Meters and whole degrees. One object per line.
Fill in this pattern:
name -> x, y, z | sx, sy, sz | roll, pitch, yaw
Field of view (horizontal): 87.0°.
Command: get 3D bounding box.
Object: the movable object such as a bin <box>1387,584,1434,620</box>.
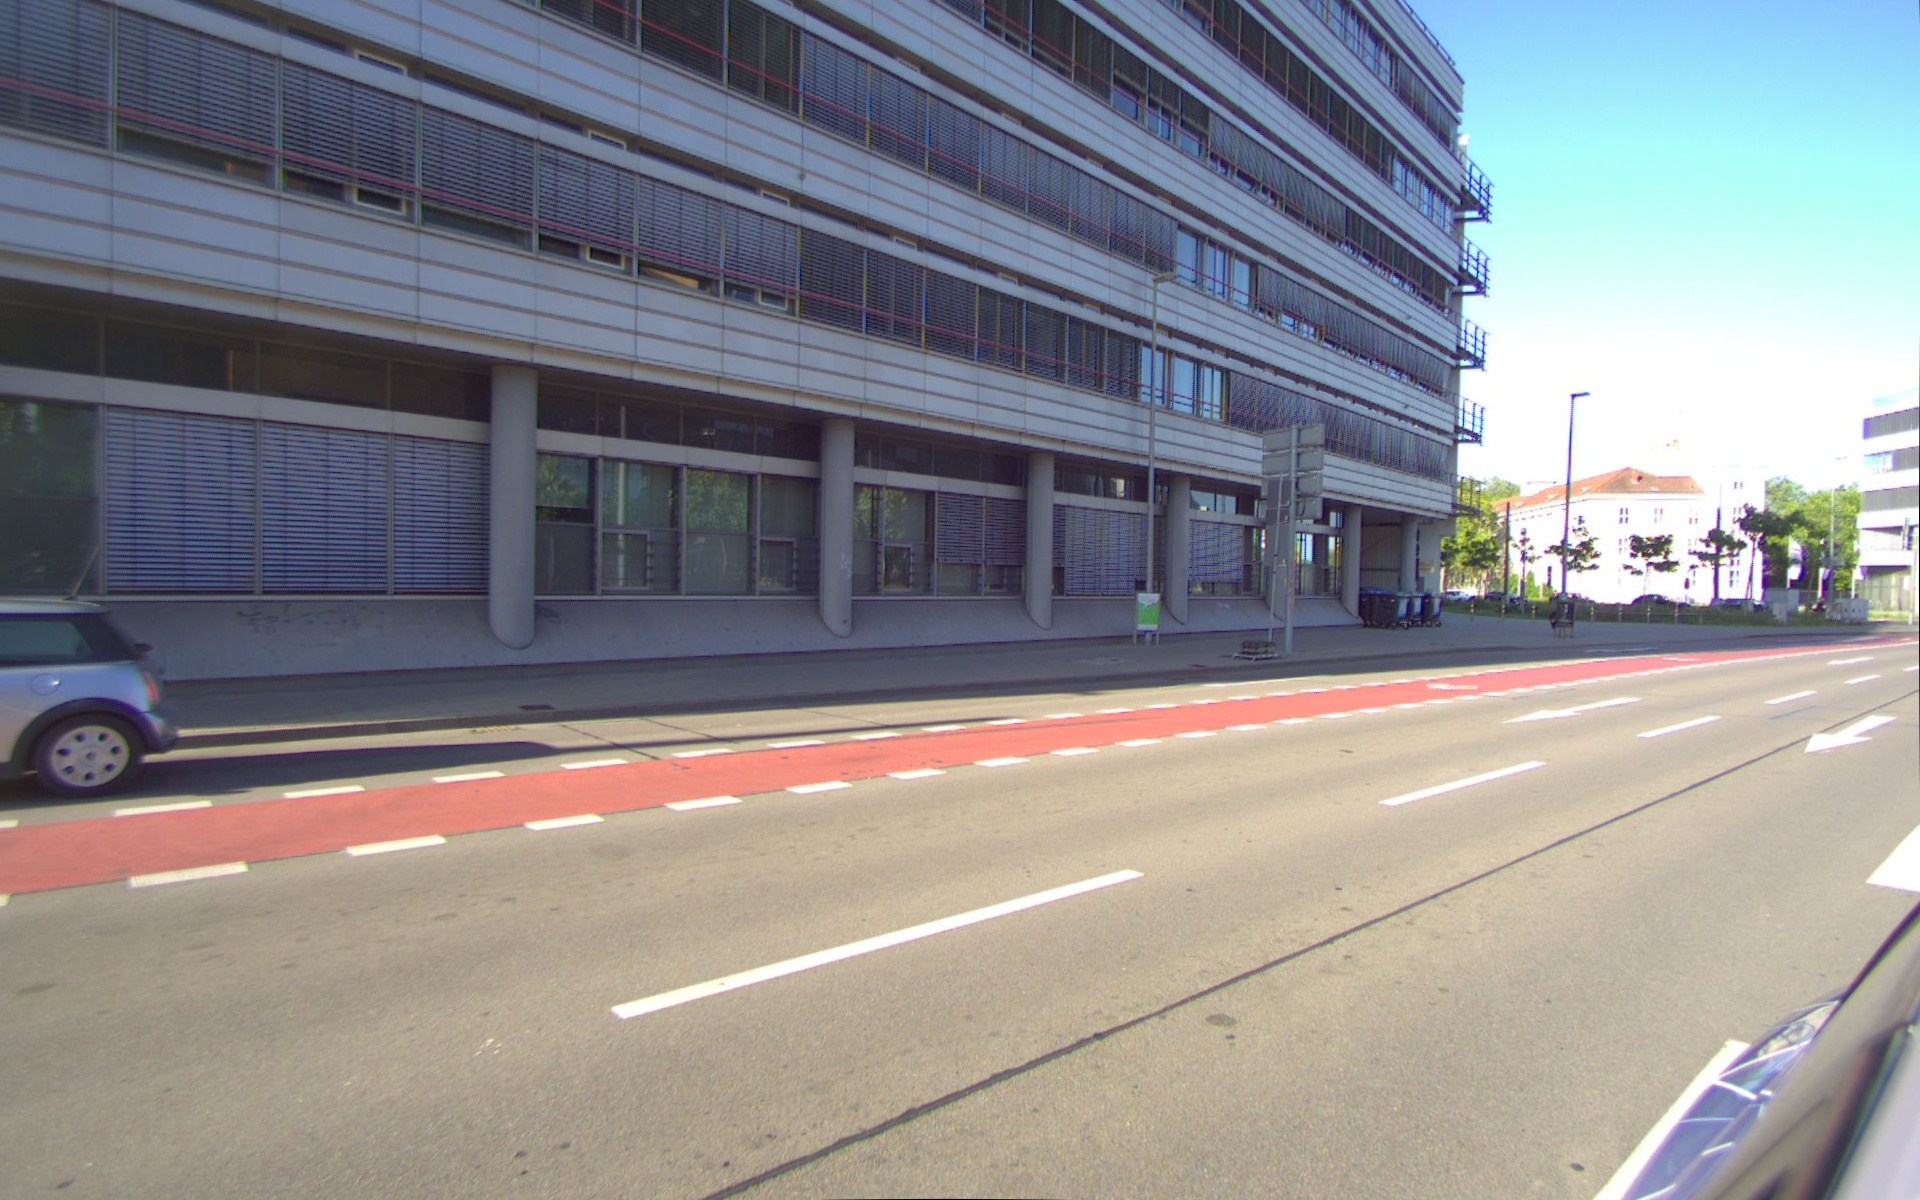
movable object such as a bin -> 17.149, 0.075, 38.545 | 1.305, 1.317, 1.173 | 0, 2, -40

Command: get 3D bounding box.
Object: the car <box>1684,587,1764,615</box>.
car -> 45.860, 0.046, 60.836 | 1.706, 1.551, 3.806 | 1, 1, -4

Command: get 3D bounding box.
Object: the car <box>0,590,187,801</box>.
car -> -7.540, 0.638, 6.939 | 3.475, 1.406, 1.664 | 0, 1, -41

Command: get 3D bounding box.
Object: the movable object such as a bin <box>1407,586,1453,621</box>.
movable object such as a bin -> 18.241, 0.125, 39.299 | 1.305, 1.317, 1.173 | 0, 2, -40

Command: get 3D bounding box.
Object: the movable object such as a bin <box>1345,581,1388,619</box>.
movable object such as a bin -> 15.513, -0.004, 38.620 | 1.088, 1.391, 1.109 | 0, 1, -40

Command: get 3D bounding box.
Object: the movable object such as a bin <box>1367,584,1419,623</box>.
movable object such as a bin -> 15.361, 0.115, 35.894 | 1.153, 1.317, 1.327 | 0, 2, -40

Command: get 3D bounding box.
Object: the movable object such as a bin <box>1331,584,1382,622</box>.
movable object such as a bin -> 14.466, 0.107, 36.924 | 1.153, 1.317, 1.327 | 0, 2, -40

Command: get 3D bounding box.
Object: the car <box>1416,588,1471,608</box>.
car -> 39.973, -0.149, 83.767 | 1.705, 1.551, 3.807 | 0, 2, -28
